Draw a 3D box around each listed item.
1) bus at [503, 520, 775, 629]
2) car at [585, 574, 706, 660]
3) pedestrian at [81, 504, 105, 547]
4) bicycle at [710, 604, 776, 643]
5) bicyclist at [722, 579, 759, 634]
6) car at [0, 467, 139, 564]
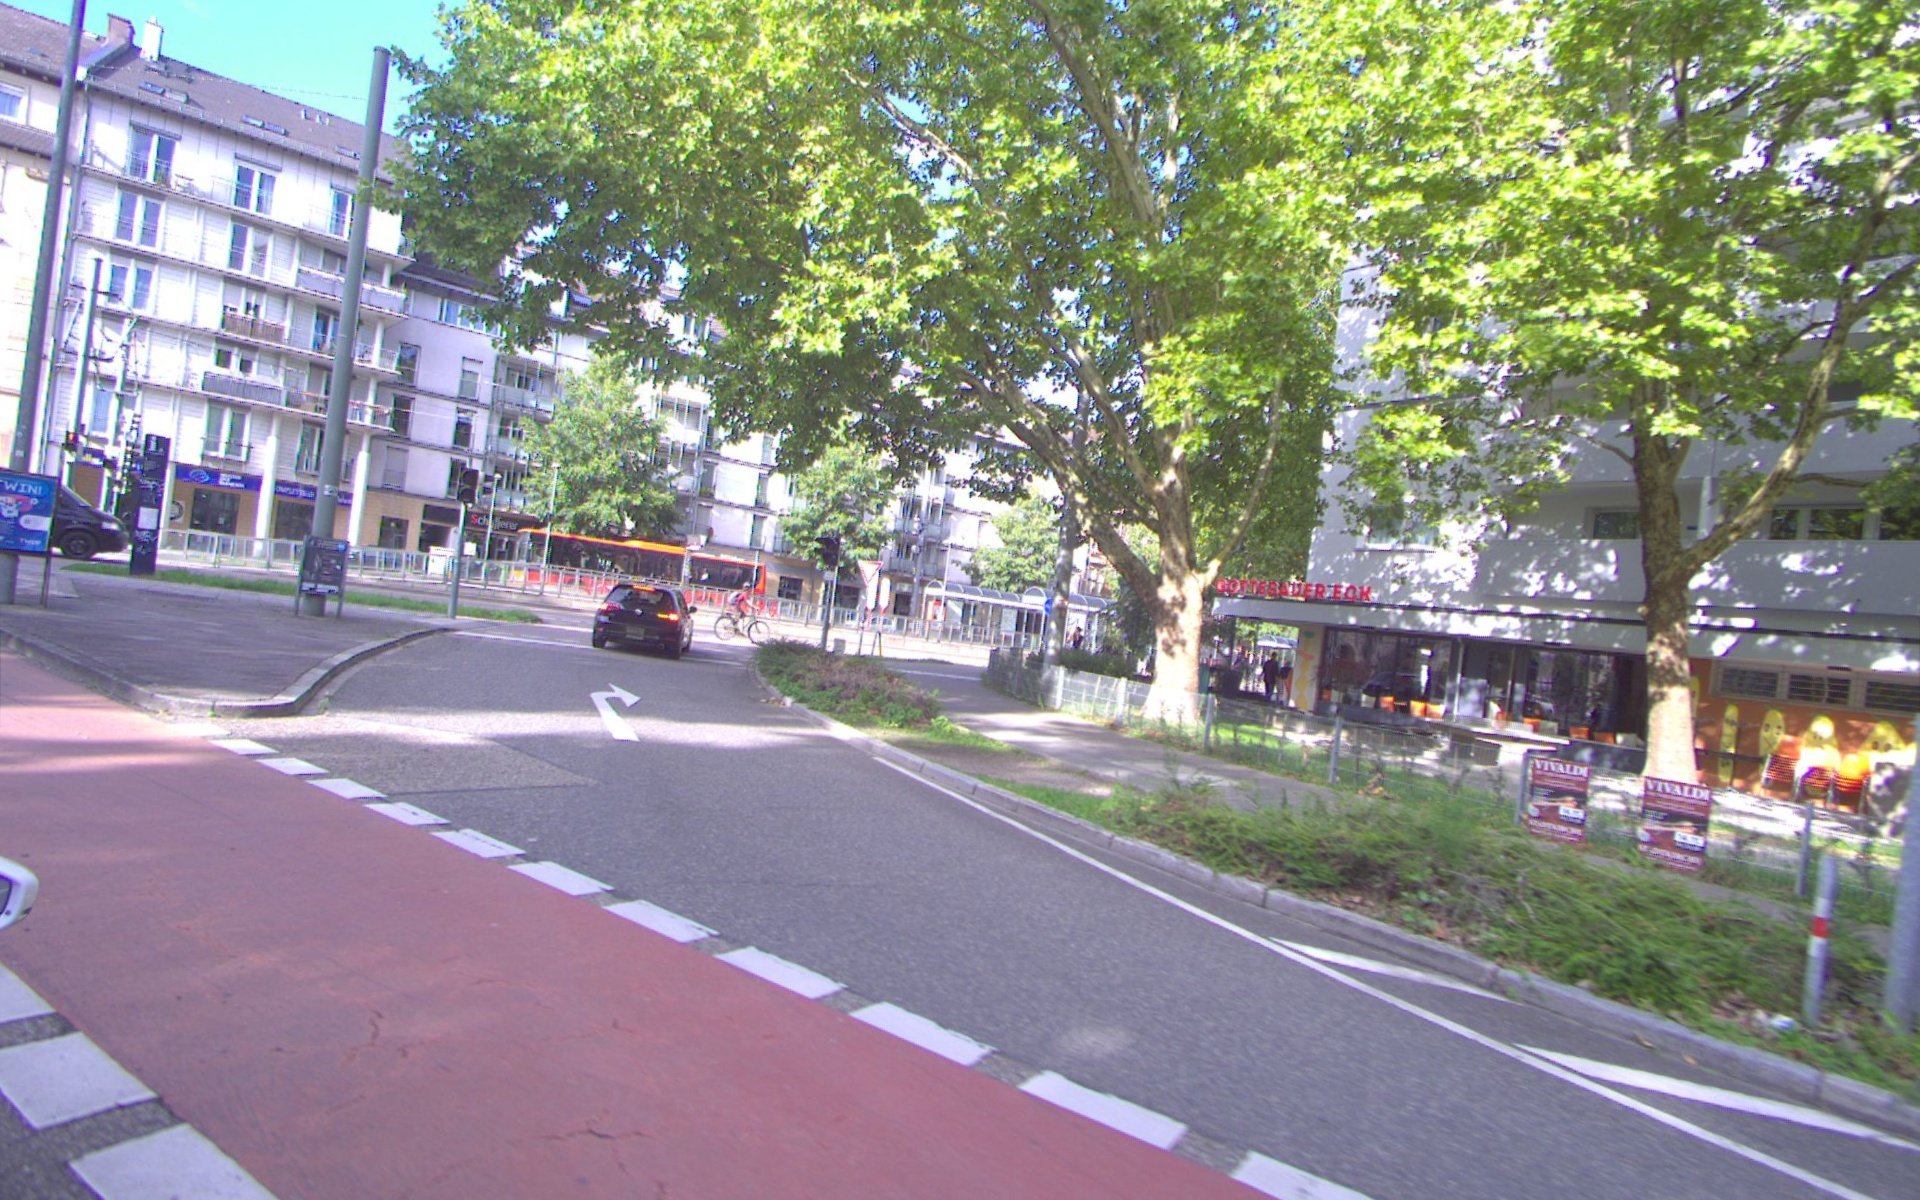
[{"bbox_3d":[-15.535,-1.126,49.672,12.199,3.590,2.999,9,-1,-36],"label":"bus"},{"bbox_3d":[-6.590,0.362,21.495,1.728,1.430,3.996,8,-2,-9],"label":"car"},{"bbox_3d":[-36.567,-3.136,42.447,0.493,1.733,0.522,10,-3,-35],"label":"pedestrian"},{"bbox_3d":[-6.696,0.717,31.014,1.818,0.967,0.568,8,-1,-33],"label":"bicycle"},{"bbox_3d":[-6.757,0.199,30.919,0.774,1.598,0.620,7,0,-34],"label":"bicyclist"},{"bbox_3d":[-22.784,-2.172,23.988,4.824,1.893,2.009,9,-1,-40],"label":"car"}]
